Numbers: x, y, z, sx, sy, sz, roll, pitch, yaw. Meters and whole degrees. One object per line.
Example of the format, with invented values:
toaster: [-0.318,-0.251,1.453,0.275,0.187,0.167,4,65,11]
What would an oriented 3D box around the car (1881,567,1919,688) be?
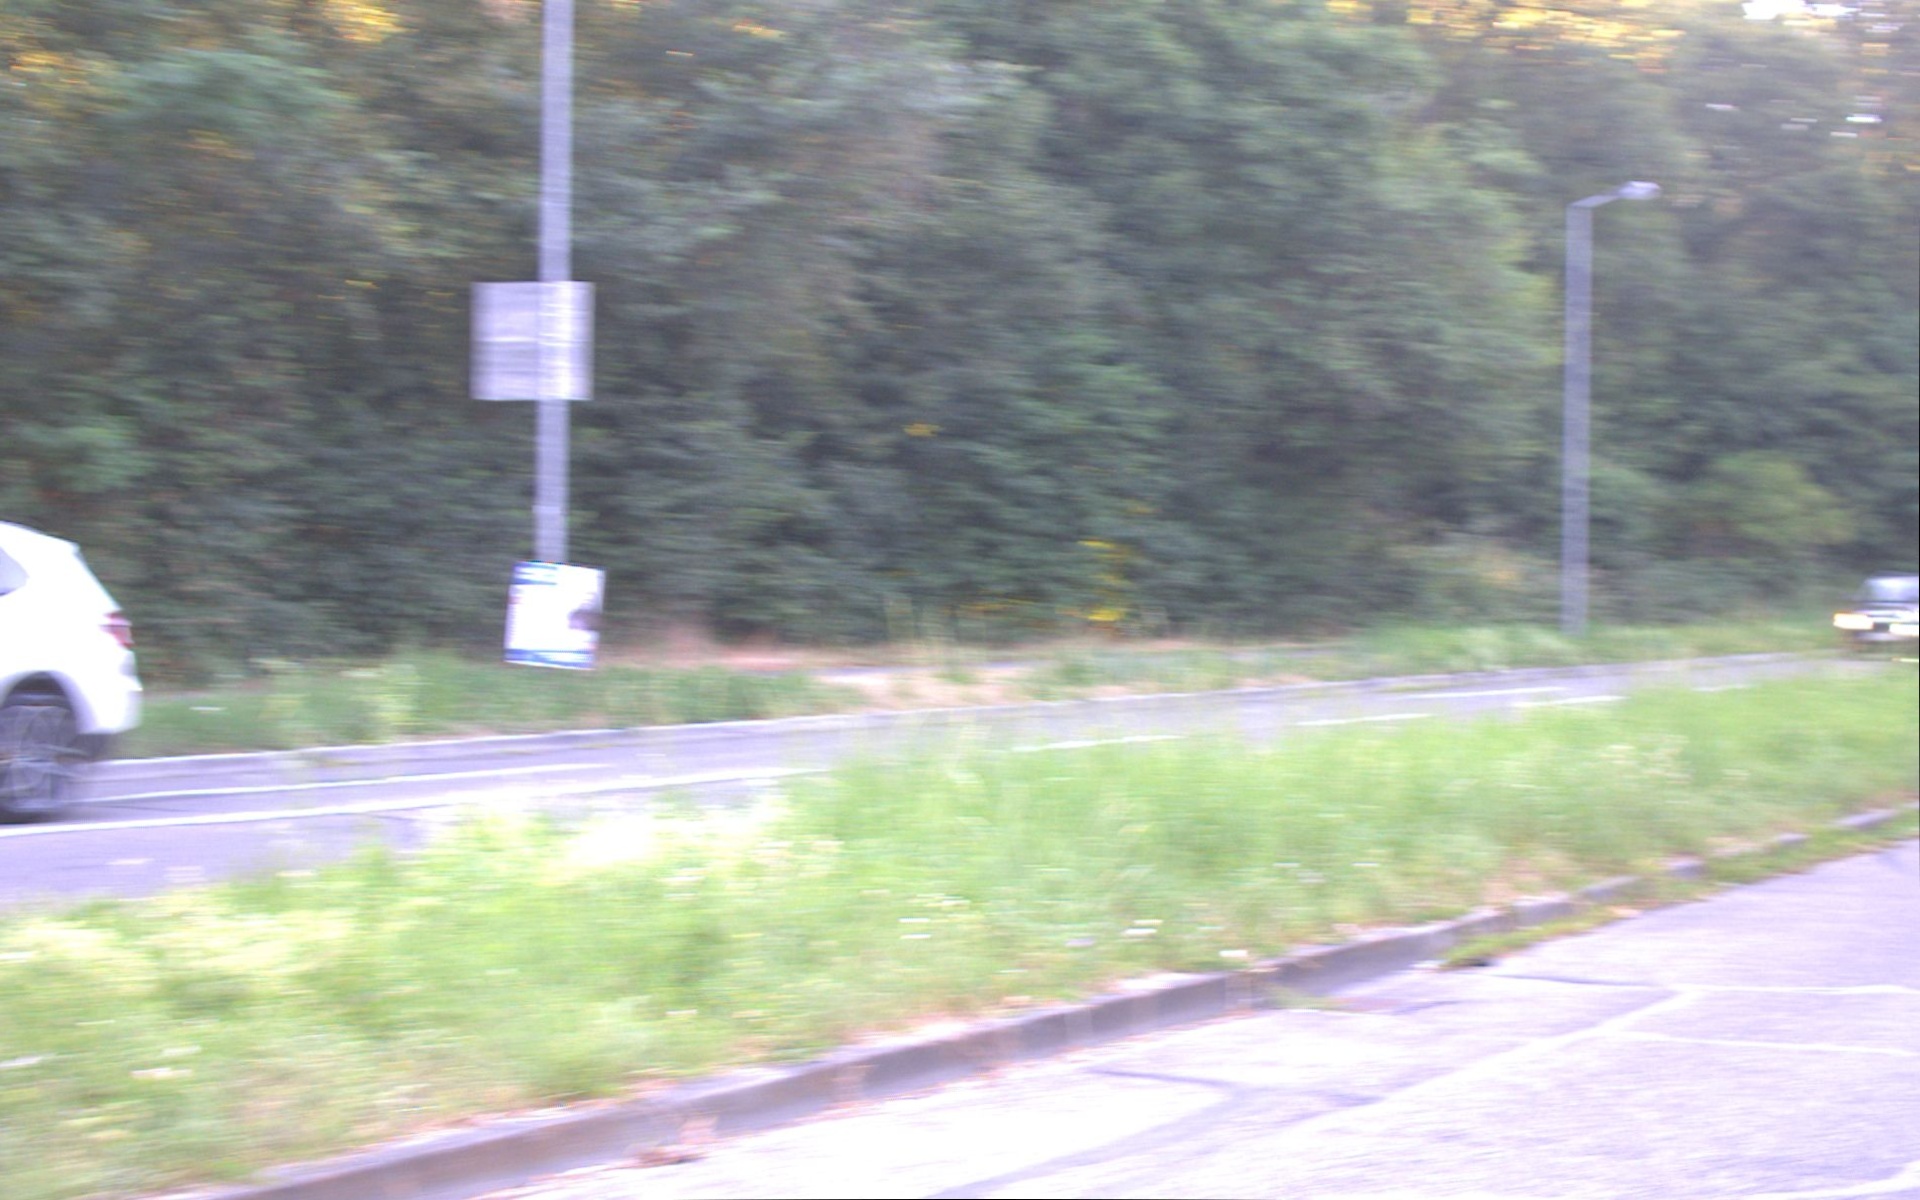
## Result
car: [14.256,0.372,47.813,1.816,1.622,4.444,0,0,28]

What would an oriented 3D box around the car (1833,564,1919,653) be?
car: [16.586,0.139,59.598,1.826,1.475,4.226,0,0,28]

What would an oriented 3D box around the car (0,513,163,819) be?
car: [-6.413,0.356,17.594,1.825,1.608,4.632,-1,-1,31]
